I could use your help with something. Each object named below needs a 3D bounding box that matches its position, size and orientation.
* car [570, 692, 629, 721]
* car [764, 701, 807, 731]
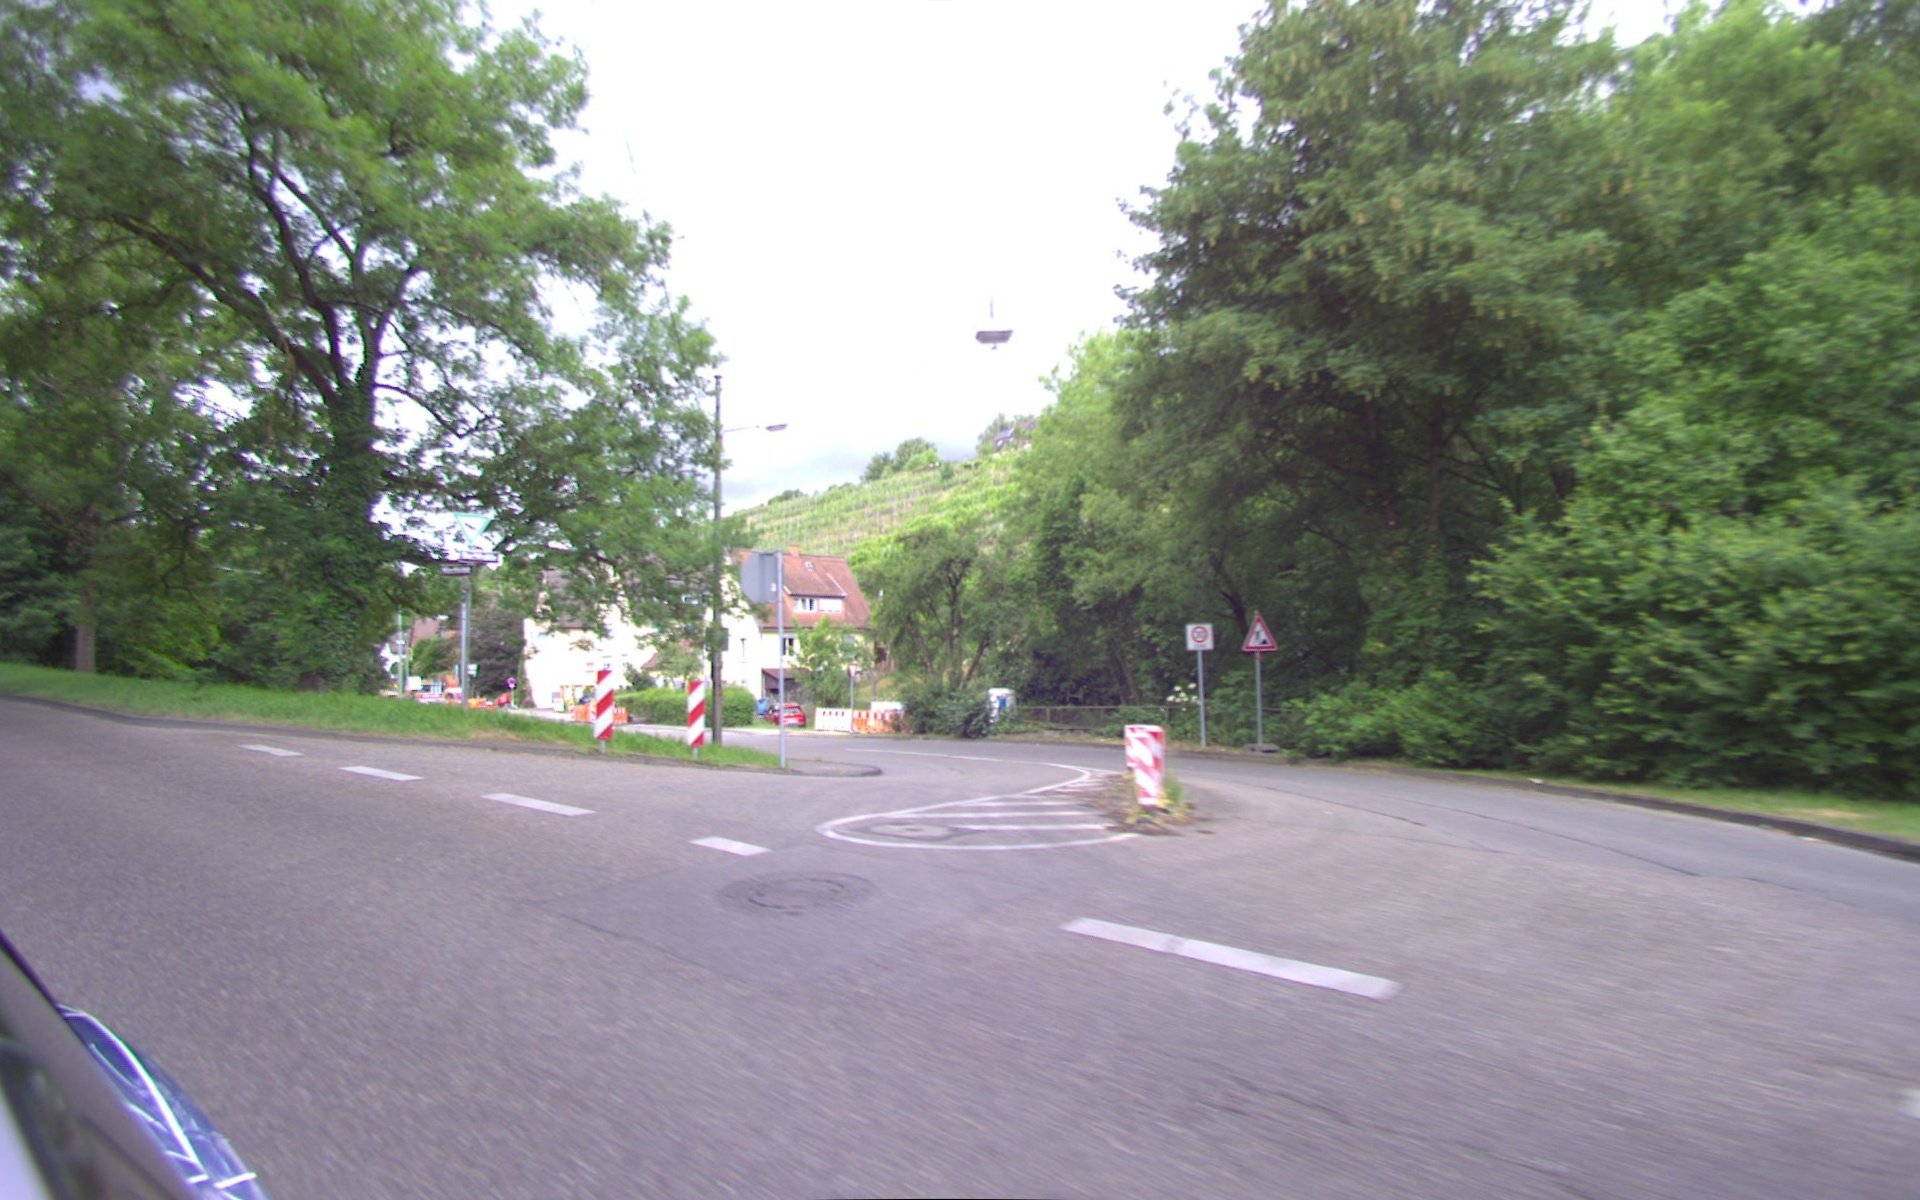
[{"bbox_3d":[-26.753,7.874,75.176,3.789,1.896,1.723,2,-4,-40],"label":"car"},{"bbox_3d":[-9.459,6.242,54.596,1.727,1.400,4.011,6,-7,-16],"label":"car"}]
